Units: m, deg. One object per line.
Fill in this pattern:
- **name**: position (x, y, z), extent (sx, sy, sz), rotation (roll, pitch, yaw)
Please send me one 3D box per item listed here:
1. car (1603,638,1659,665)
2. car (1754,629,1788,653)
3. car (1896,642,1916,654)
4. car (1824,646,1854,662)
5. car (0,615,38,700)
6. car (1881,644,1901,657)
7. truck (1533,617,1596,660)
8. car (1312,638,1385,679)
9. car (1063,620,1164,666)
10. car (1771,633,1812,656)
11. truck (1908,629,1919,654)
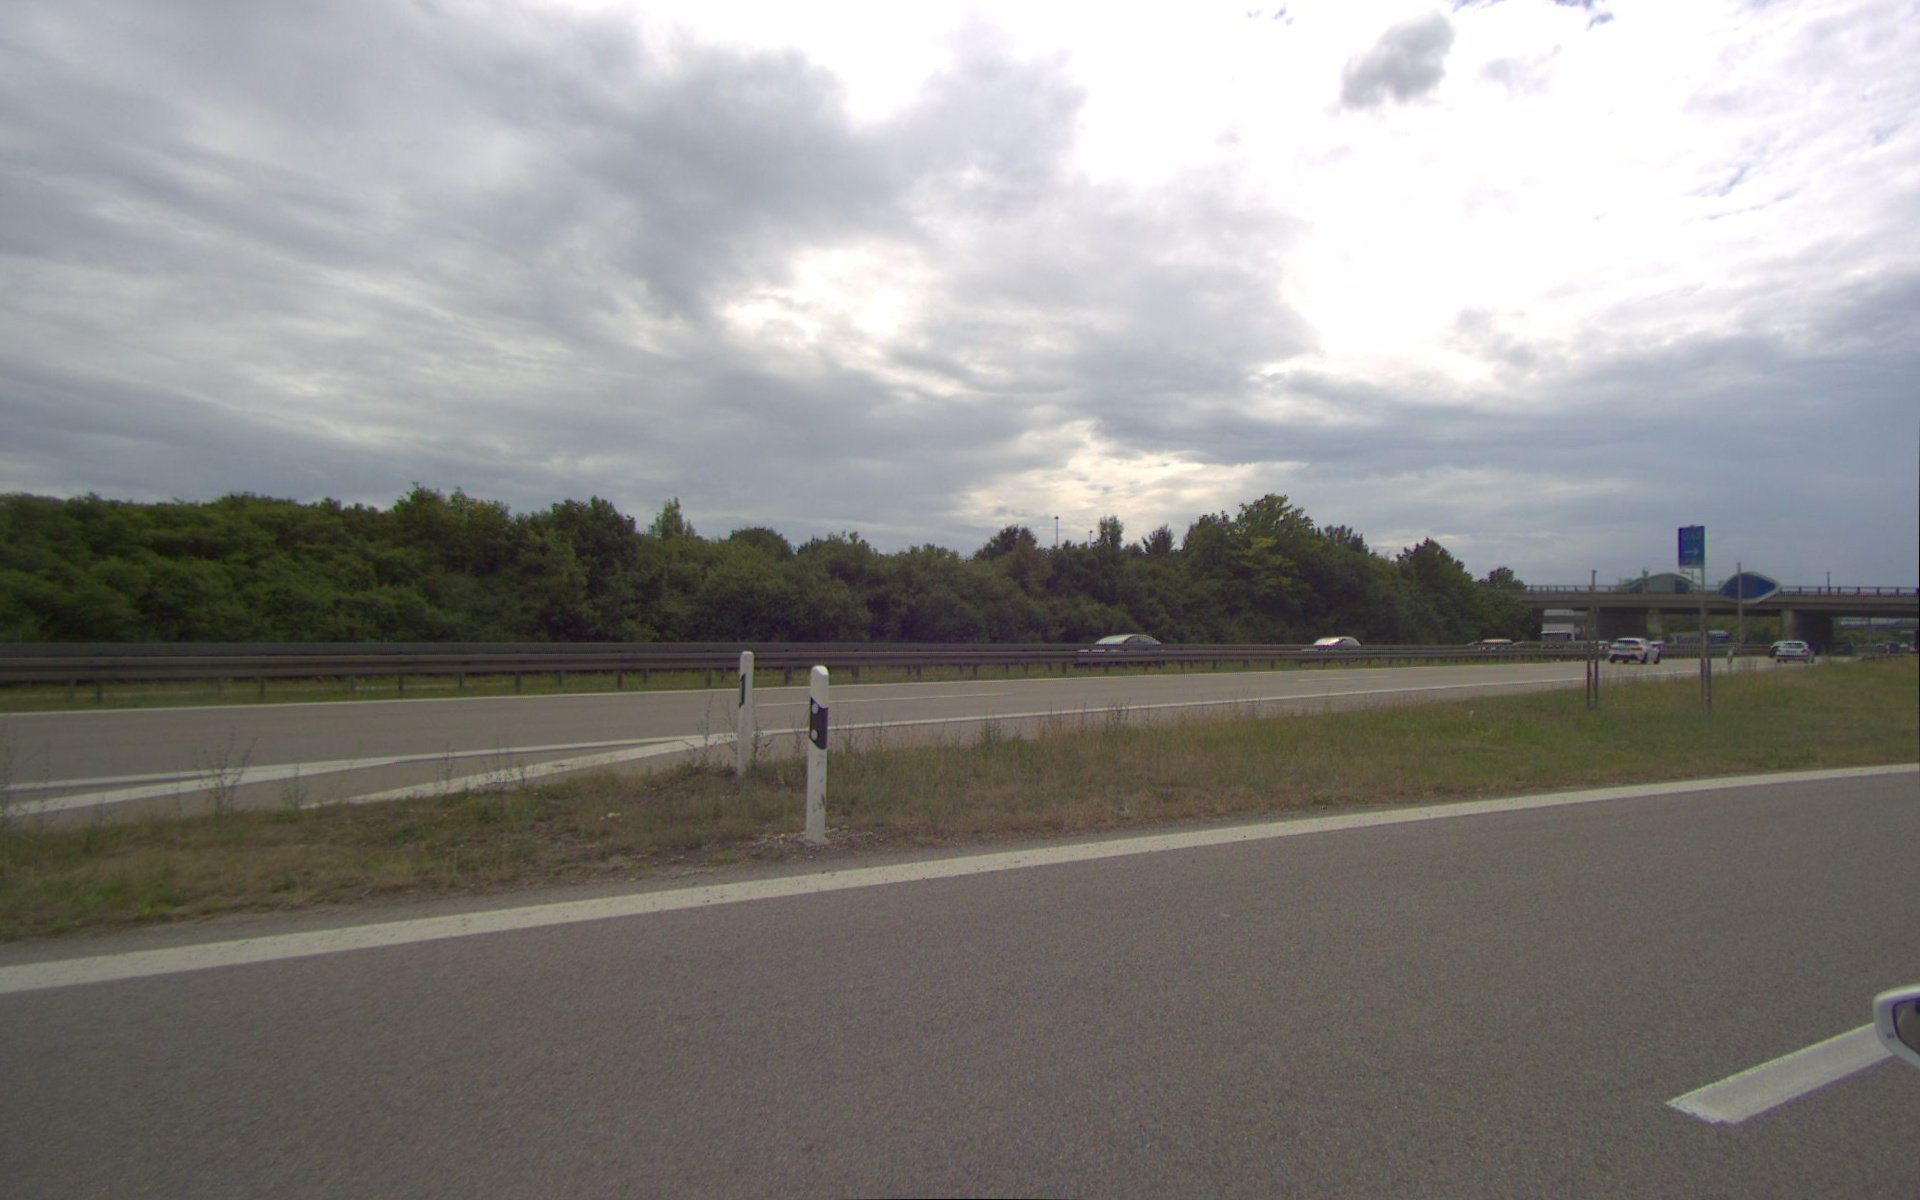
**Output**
- **car**: position (39.005, 2.987, 58.355), extent (4.349, 1.472, 1.818), rotation (3, -2, -44)
- **car**: position (72.538, 3.649, 89.789), extent (1.972, 2.040, 3.976), rotation (2, -1, 44)
- **car**: position (146.925, 7.466, 155.987), extent (3.971, 1.834, 1.975), rotation (2, -2, -42)
- **car**: position (98.456, 6.039, 112.499), extent (4.794, 1.766, 1.975), rotation (3, -3, -43)
- **car**: position (-20.969, 1.095, 19.449), extent (4.532, 1.684, 1.975), rotation (2, -2, -43)
- **car**: position (134.637, 7.320, 145.316), extent (4.306, 1.782, 1.828), rotation (2, -2, -43)
- **truck**: position (54.494, 3.505, 90.417), extent (8.138, 3.694, 2.733), rotation (2, -2, -43)
- **car**: position (20.517, 3.039, 52.973), extent (4.186, 2.040, 1.908), rotation (2, -2, -42)
- **car**: position (6.090, 1.677, 39.639), extent (3.973, 1.706, 1.974), rotation (3, -2, -44)
- **car**: position (57.738, 3.067, 69.739), extent (3.972, 1.539, 1.701), rotation (3, -2, -43)
- **truck**: position (132.734, 5.762, 138.481), extent (7.868, 3.415, 2.444), rotation (3, -3, -43)
